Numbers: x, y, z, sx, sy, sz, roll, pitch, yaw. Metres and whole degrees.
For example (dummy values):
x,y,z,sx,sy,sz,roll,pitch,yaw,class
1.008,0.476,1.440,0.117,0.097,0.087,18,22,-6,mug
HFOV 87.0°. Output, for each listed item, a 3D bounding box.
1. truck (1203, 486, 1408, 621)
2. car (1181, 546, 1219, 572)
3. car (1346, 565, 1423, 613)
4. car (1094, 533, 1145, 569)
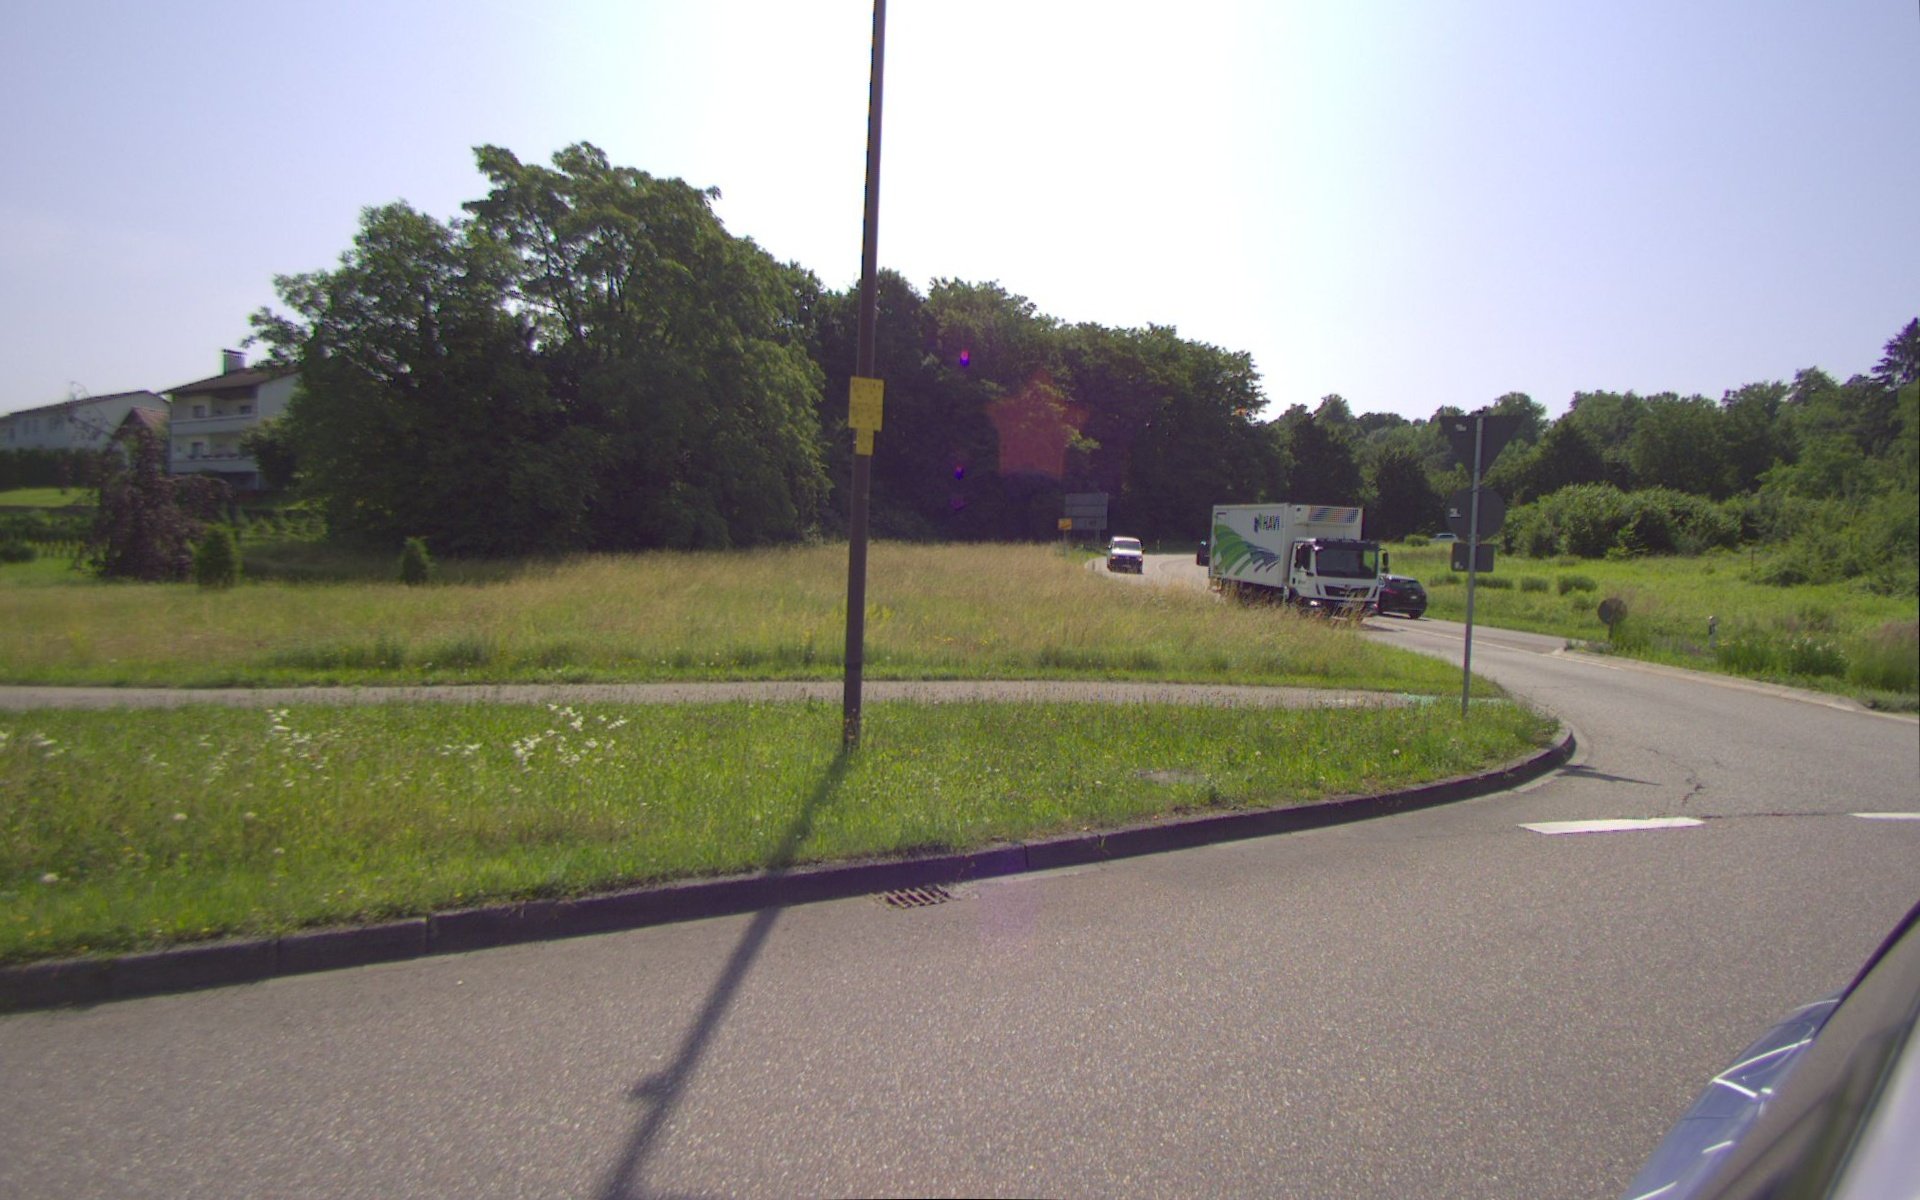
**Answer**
x,y,z,sx,sy,sz,roll,pitch,yaw,class
11.036,-1.556,33.631,2.842,3.875,9.039,0,3,-6,truck
17.223,-2.899,72.444,1.892,1.615,4.340,4,2,23,car
15.597,-0.418,37.390,1.731,1.548,4.199,4,2,11,car
9.396,-2.931,60.133,1.961,2.038,5.608,0,3,-2,car
